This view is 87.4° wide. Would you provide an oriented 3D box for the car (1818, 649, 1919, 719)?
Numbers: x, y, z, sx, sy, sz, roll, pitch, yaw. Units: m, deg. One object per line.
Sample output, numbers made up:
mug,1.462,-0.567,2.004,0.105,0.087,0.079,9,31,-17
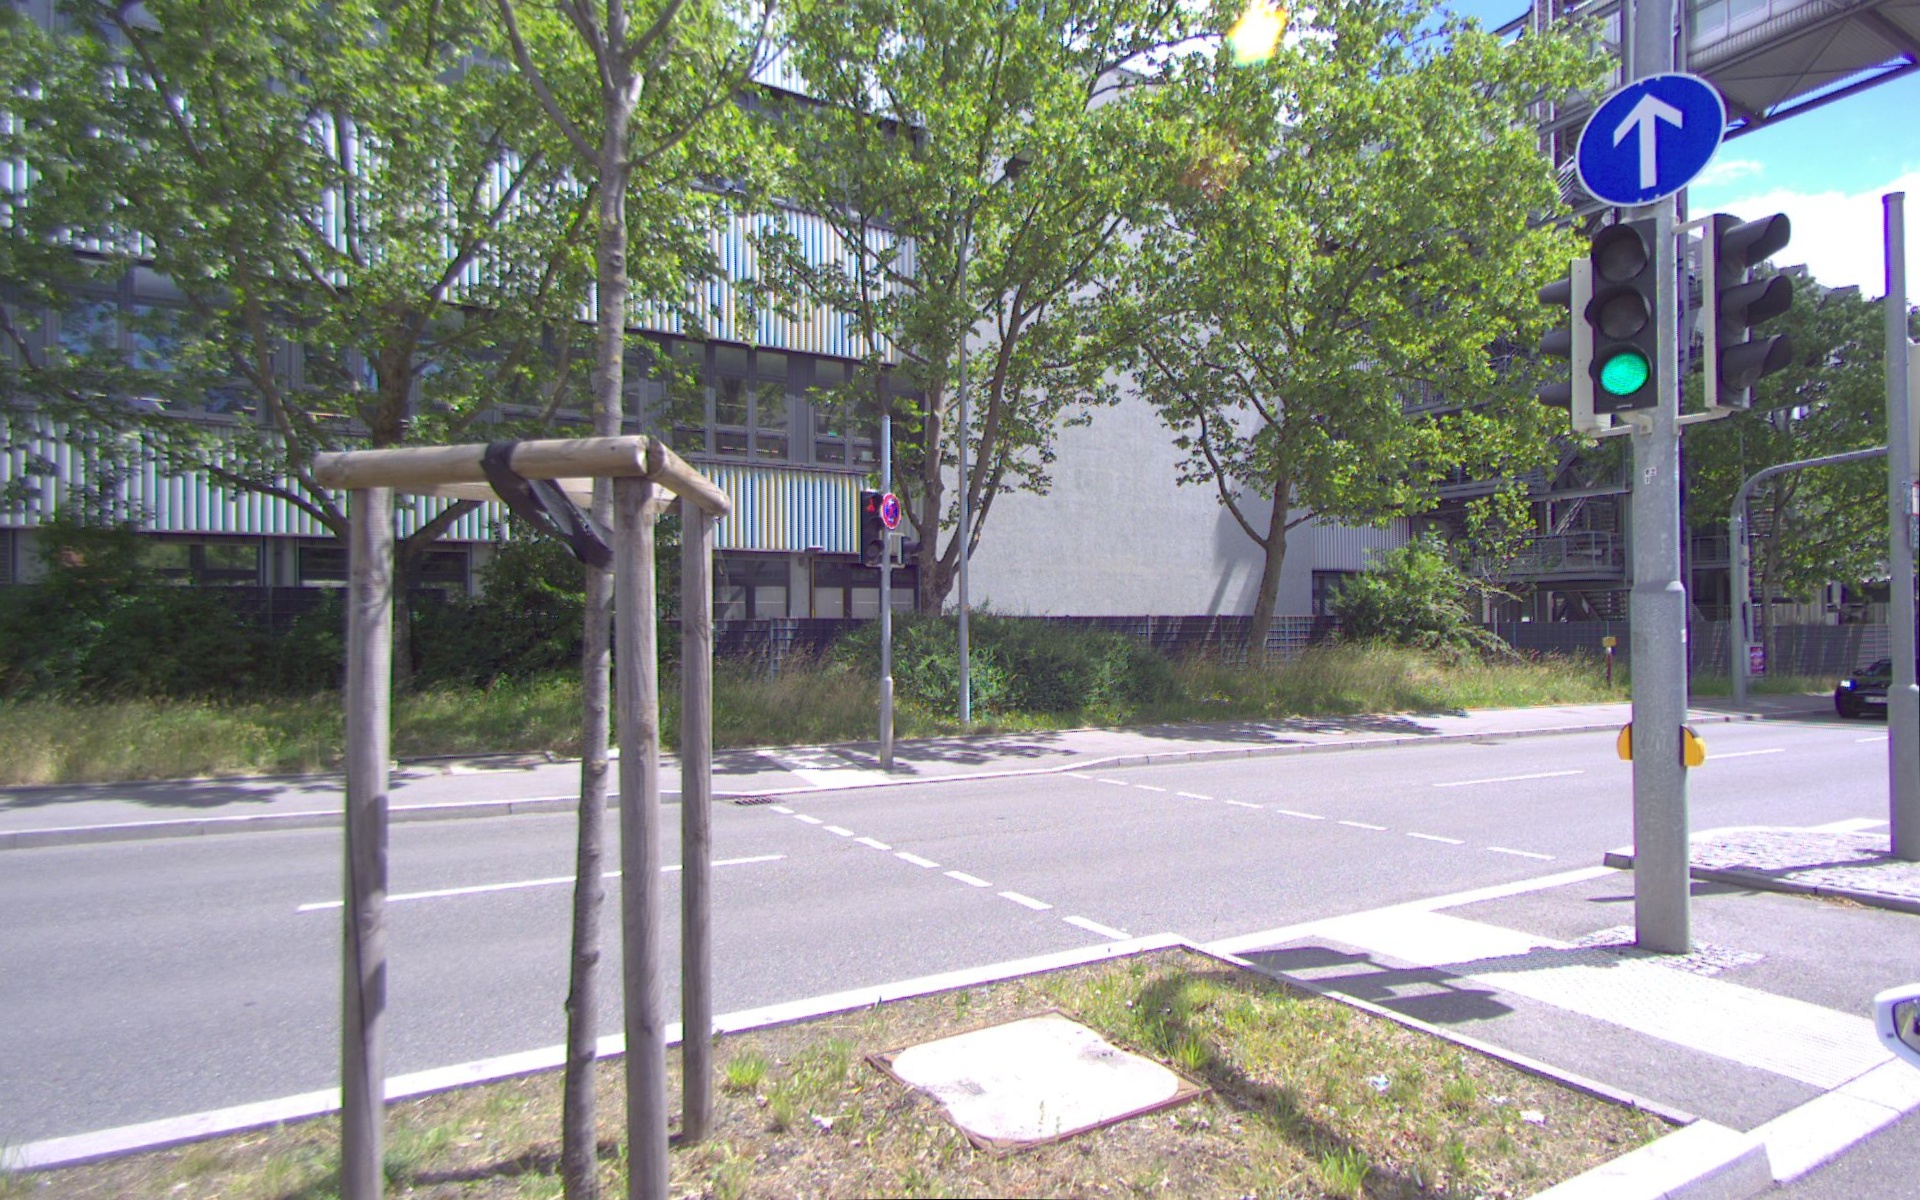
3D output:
car,22.305,1.904,23.470,4.714,1.508,1.909,2,-4,-30
